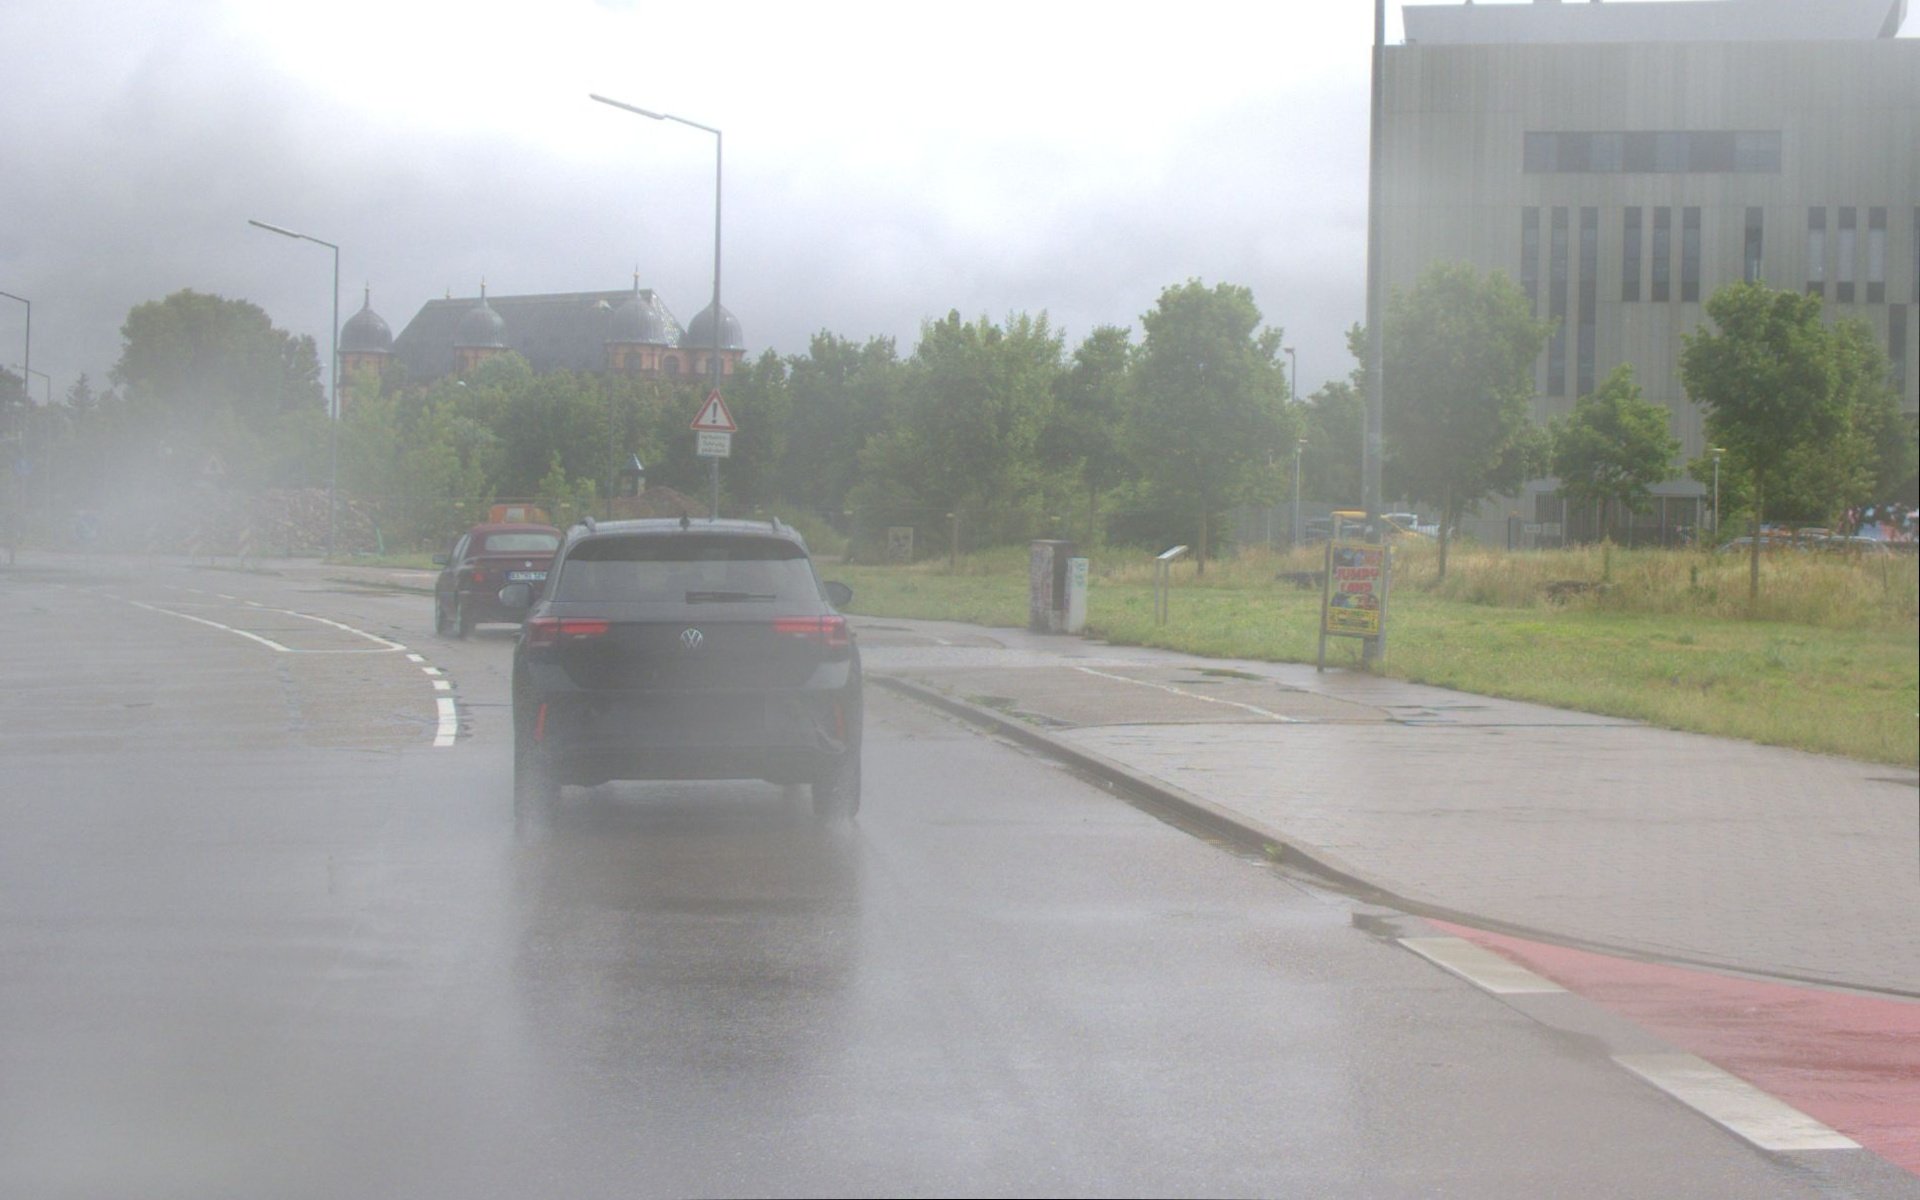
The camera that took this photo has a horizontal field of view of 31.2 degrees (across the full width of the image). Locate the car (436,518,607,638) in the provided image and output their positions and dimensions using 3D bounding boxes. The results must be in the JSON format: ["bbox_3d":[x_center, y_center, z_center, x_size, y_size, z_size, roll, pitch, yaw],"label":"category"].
[{"bbox_3d":[-5.706,-0.314,44.410,1.841,1.437,4.001,-1,1,-12],"label":"car"}]

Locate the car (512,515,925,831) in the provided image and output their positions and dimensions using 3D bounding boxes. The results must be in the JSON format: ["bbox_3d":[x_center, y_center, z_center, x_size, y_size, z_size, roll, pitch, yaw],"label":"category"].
[{"bbox_3d":[-1.429,0.309,18.754,1.986,1.515,4.001,0,2,-8],"label":"car"}]
